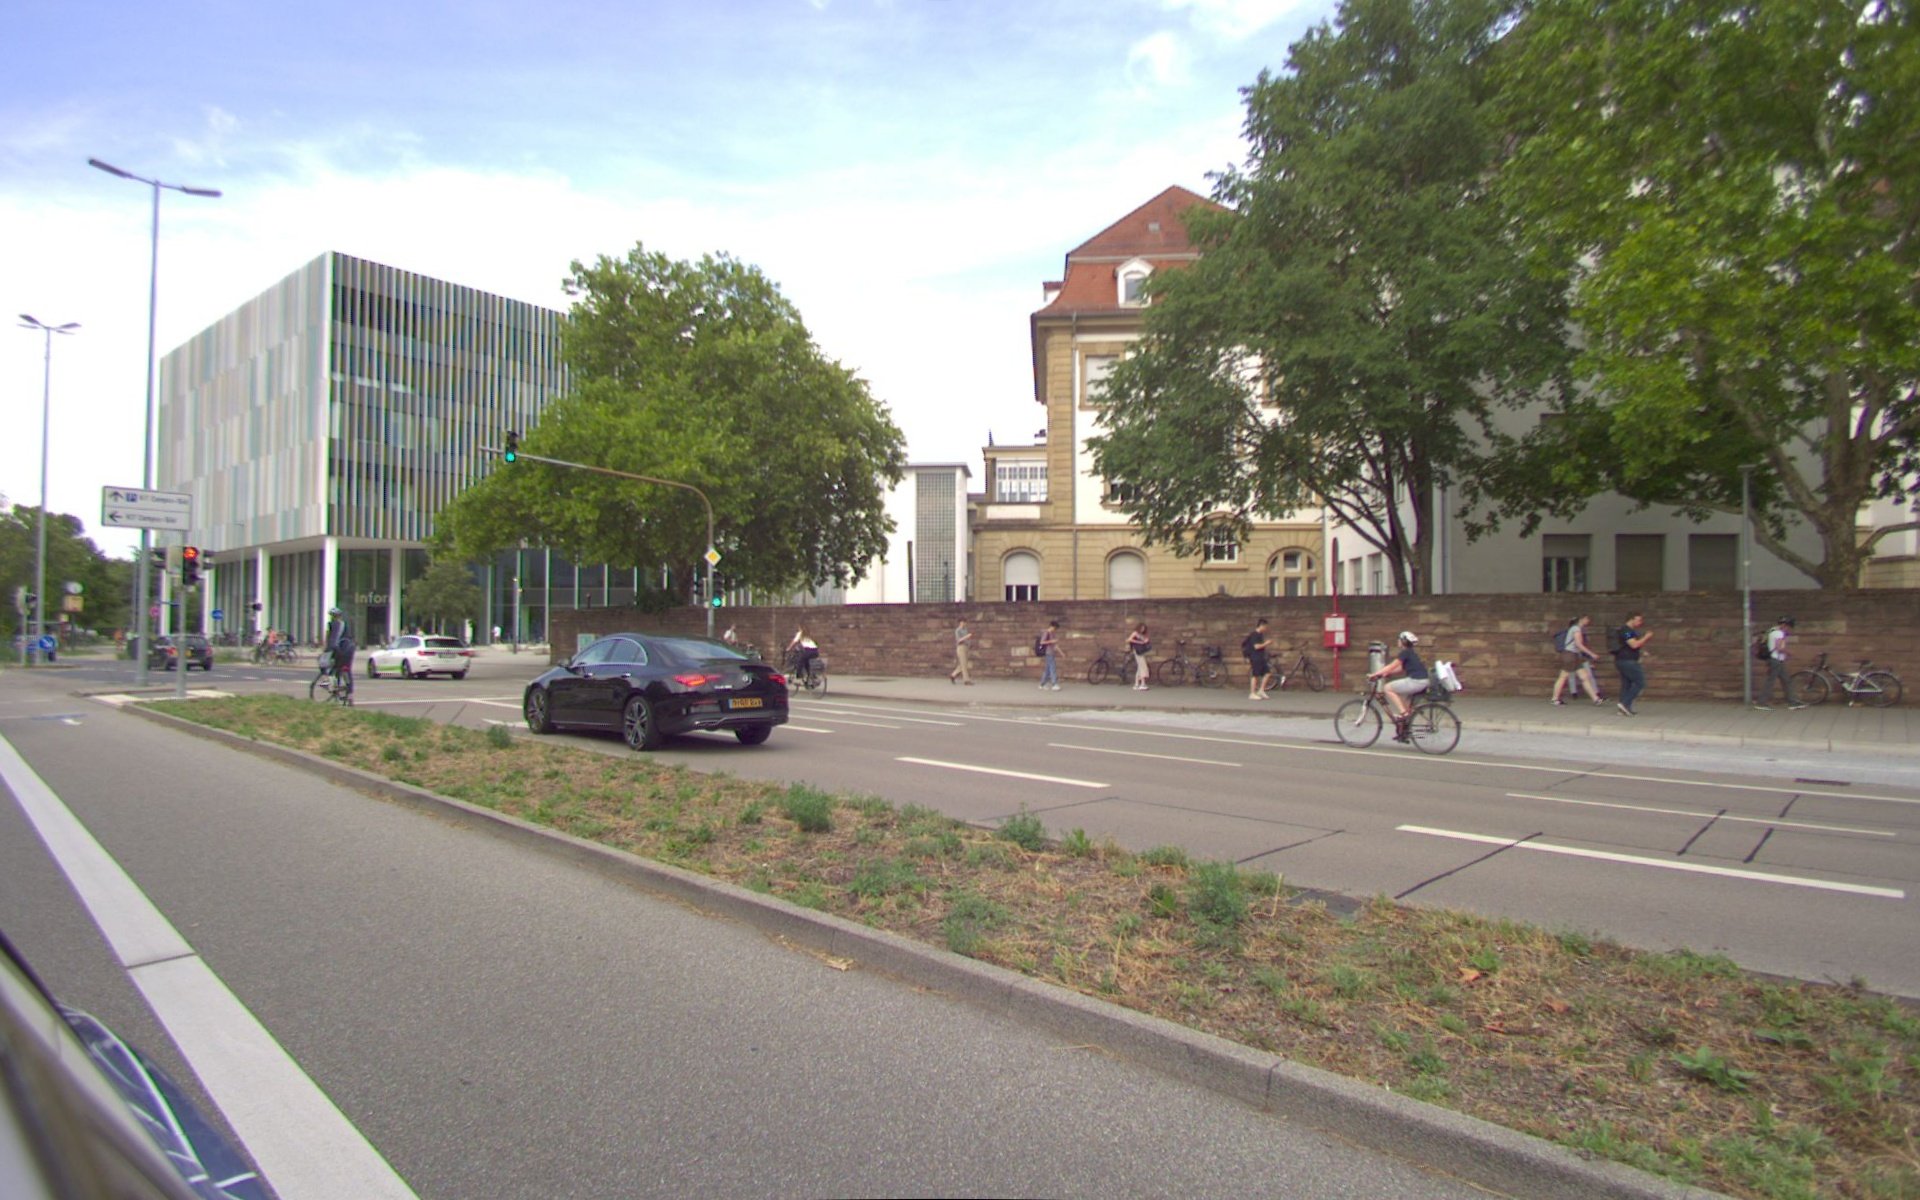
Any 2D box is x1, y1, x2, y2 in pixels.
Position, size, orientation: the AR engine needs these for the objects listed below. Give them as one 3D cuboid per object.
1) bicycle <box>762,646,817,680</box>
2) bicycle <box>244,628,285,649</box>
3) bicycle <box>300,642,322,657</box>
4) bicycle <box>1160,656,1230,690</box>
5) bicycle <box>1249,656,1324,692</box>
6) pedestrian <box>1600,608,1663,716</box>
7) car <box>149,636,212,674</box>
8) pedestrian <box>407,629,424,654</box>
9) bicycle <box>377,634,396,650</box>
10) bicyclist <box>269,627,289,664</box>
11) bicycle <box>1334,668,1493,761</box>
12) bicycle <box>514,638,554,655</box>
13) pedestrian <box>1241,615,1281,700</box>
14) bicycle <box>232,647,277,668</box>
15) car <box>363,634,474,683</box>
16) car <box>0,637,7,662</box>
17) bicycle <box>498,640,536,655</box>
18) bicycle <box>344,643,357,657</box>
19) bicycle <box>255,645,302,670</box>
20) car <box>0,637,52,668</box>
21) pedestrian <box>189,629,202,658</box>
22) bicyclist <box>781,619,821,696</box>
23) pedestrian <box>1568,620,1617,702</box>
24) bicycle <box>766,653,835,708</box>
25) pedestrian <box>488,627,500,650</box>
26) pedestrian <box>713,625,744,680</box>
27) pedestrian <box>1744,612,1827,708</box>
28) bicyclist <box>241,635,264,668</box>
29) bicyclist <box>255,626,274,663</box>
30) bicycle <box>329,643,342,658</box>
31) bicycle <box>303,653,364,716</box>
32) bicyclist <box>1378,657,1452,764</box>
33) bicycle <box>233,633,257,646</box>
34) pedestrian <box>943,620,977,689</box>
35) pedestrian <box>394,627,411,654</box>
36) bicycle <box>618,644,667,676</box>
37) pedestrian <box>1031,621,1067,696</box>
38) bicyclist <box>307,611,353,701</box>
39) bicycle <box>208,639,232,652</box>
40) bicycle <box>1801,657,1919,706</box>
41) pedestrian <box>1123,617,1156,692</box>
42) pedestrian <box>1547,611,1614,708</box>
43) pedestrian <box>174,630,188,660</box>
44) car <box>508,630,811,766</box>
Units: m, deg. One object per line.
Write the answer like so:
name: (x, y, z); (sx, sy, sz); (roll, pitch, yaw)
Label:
bicycle: (-5.561, 2.036, 32.981); (1.977, 1.066, 0.543); (-2, 0, 37)
bicycle: (-35.264, 1.966, 51.339); (0.568, 0.996, 1.677); (-1, -1, 26)
bicycle: (-46.027, 3.506, 71.813); (0.389, 0.944, 1.608); (-1, 0, 6)
bicycle: (5.859, 1.815, 25.259); (1.616, 0.803, 0.437); (-3, -1, 34)
bicycle: (7.725, 1.761, 23.985); (1.616, 0.803, 0.437); (-3, -1, 34)
pedestrian: (11.544, 1.058, 17.421); (0.716, 1.796, 0.756); (0, -3, 19)
car: (-32.603, 2.297, 42.283); (3.638, 1.500, 1.554); (-2, -4, 45)
pedestrian: (-35.966, 2.731, 66.852); (0.671, 1.612, 0.728); (-1, -2, 9)
bicycle: (-40.217, 2.959, 70.929); (0.389, 1.037, 1.545); (-1, 0, 2)
bicyclist: (-33.945, 2.255, 50.449); (0.559, 1.820, 0.596); (-1, -3, 25)
bicycle: (6.372, 1.580, 14.298); (1.964, 1.179, 0.575); (-2, -3, 42)
bicycle: (-29.217, 3.191, 69.419); (0.792, 1.098, 2.660); (-1, -2, 25)
pedestrian: (6.536, 1.235, 21.980); (0.776, 1.796, 0.758); (1, -1, 14)
bicycle: (-36.691, 2.975, 52.665); (0.725, 0.996, 1.806); (-1, -1, 26)
car: (-18.035, 1.893, 33.616); (4.413, 1.500, 1.783); (-2, -3, 41)
car: (-59.848, 3.015, 61.908); (4.286, 1.500, 1.783); (-2, -3, 41)
bicycle: (-30.954, 3.304, 70.797); (0.669, 1.007, 2.660); (-1, -2, 25)
bicycle: (-42.960, 3.526, 71.339); (0.387, 0.944, 1.603); (-1, 0, -17)
bicycle: (-33.962, 2.863, 50.464); (0.603, 1.179, 1.879); (-1, -2, 25)
car: (-51.773, 2.876, 55.933); (4.101, 1.523, 1.783); (0, -2, 41)
pedestrian: (-48.778, 2.782, 64.557); (0.624, 1.851, 0.506); (-3, -4, 39)
bicyclist: (-3.810, 1.362, 24.222); (0.610, 1.796, 0.812); (2, -3, -42)
pedestrian: (12.803, 1.219, 20.501); (0.730, 1.604, 0.584); (0, -1, 20)
bicycle: (-3.834, 1.900, 24.209); (0.611, 1.226, 2.047); (2, -3, -42)
pedestrian: (-35.779, 2.951, 77.690); (0.627, 1.792, 0.597); (0, -2, -5)
pedestrian: (-7.752, 1.760, 33.926); (0.775, 1.796, 0.745); (1, -1, 8)
pedestrian: (14.875, 1.062, 18.254); (0.915, 1.684, 0.758); (1, -1, 14)
bicyclist: (-36.750, 2.675, 52.557); (0.720, 1.685, 0.722); (-1, -1, 26)
bicyclist: (-35.282, 2.258, 51.331); (0.559, 1.820, 0.596); (-1, -1, 26)
bicycle: (-43.938, 3.536, 71.208); (0.387, 0.944, 1.603); (-1, 0, -17)
bicycle: (-11.434, 1.512, 18.452); (0.566, 1.063, 1.928); (2, -3, -43)
bicyclist: (6.416, 1.533, 14.276); (0.810, 1.430, 0.574); (-2, -3, 41)
bicycle: (-58.022, 3.210, 82.167); (0.388, 1.031, 1.564); (-2, -1, 35)
pedestrian: (0.006, 1.449, 27.111); (0.775, 1.796, 0.744); (1, -1, 10)
pedestrian: (-36.849, 2.668, 66.885); (0.670, 1.753, 0.729); (0, -2, 6)
bicycle: (-11.746, 2.213, 37.416); (2.162, 1.134, 0.572); (-2, 0, 39)
pedestrian: (2.189, 1.411, 24.882); (0.776, 1.796, 0.758); (1, -1, 13)
bicyclist: (-11.434, 1.006, 18.366); (0.565, 1.586, 0.700); (2, -3, -43)
bicycle: (-63.520, 3.912, 86.863); (0.388, 1.031, 1.564); (-2, -1, 35)
bicycle: (16.594, 1.493, 18.646); (1.612, 0.834, 0.438); (-1, 0, 26)
pedestrian: (4.417, 1.332, 24.871); (0.775, 1.796, 0.758); (1, -1, 11)
pedestrian: (11.858, 1.113, 19.369); (0.906, 1.796, 0.758); (1, -1, 14)
pedestrian: (-49.205, 2.827, 63.893); (0.772, 1.851, 0.506); (-3, -4, 39)
car: (-4.071, 1.157, 13.308); (4.404, 1.500, 1.782); (-2, -3, 42)
